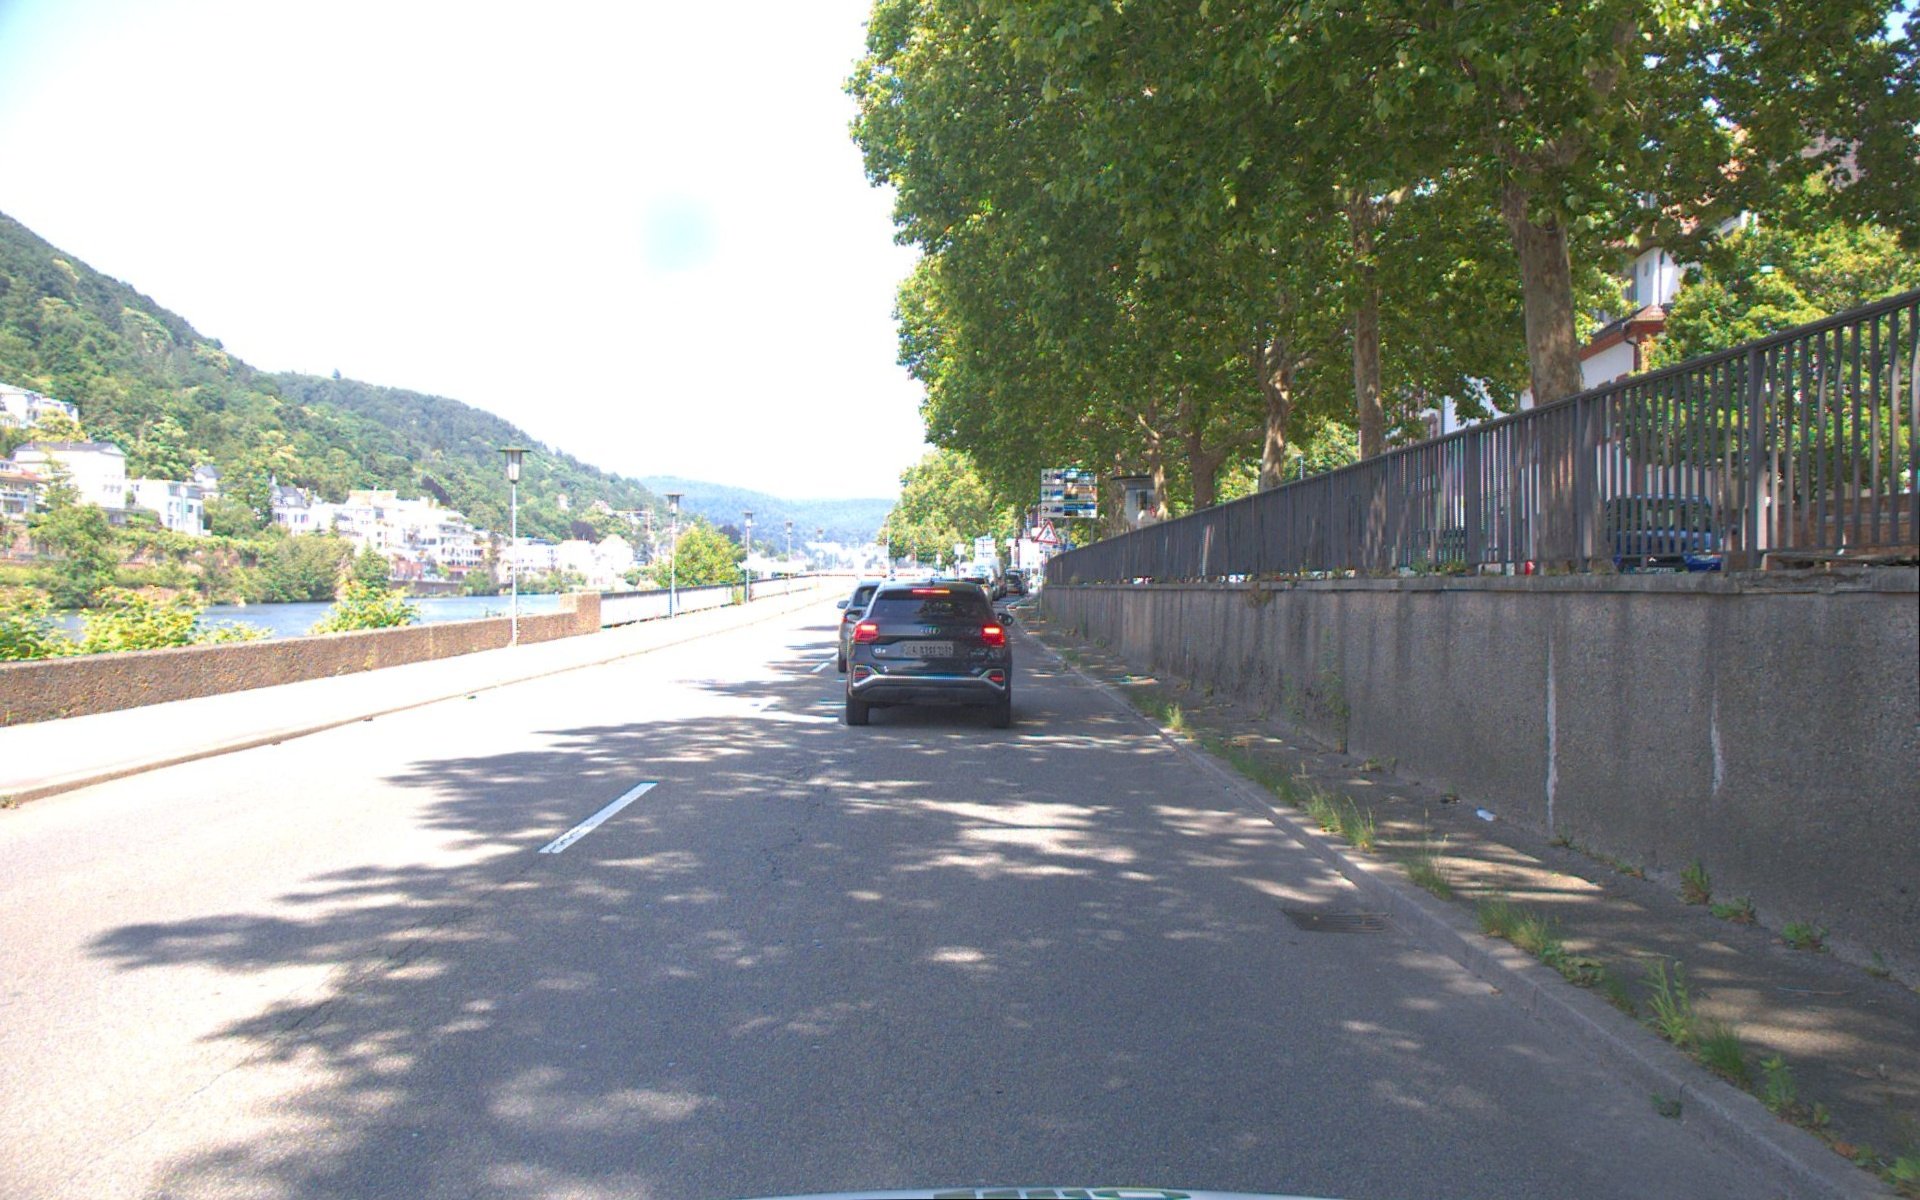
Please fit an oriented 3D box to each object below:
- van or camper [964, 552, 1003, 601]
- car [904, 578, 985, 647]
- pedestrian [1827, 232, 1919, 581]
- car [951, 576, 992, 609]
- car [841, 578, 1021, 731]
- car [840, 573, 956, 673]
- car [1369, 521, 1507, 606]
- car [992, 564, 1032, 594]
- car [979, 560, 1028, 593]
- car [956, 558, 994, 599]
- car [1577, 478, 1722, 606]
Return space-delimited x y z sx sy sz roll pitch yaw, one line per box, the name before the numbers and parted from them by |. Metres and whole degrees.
van or camper | 1.499 -1.470 103.991 2.262 2.896 4.246 -3 1 1
car | -0.387 0.253 39.103 1.791 1.512 3.999 1 1 -1
pedestrian | 4.350 -0.823 7.129 0.666 1.449 0.949 -3 1 -1
car | 0.506 -0.386 77.785 1.791 1.469 3.999 1 1 -1
car | -0.332 0.523 18.690 1.791 1.512 3.999 1 1 -1
car | -1.042 0.346 28.667 1.791 1.537 3.999 -3 1 -1
car | 9.050 -0.668 31.099 1.740 1.495 3.995 1 1 27
car | 3.864 -1.585 123.846 2.608 2.048 5.823 -3 1 -1
car | 2.937 -1.602 113.765 3.036 2.048 5.823 -3 1 -1
car | 0.850 -1.229 95.055 1.953 2.207 3.999 -3 1 -1
car | 9.157 -0.705 21.843 1.616 1.526 3.815 1 0 24
